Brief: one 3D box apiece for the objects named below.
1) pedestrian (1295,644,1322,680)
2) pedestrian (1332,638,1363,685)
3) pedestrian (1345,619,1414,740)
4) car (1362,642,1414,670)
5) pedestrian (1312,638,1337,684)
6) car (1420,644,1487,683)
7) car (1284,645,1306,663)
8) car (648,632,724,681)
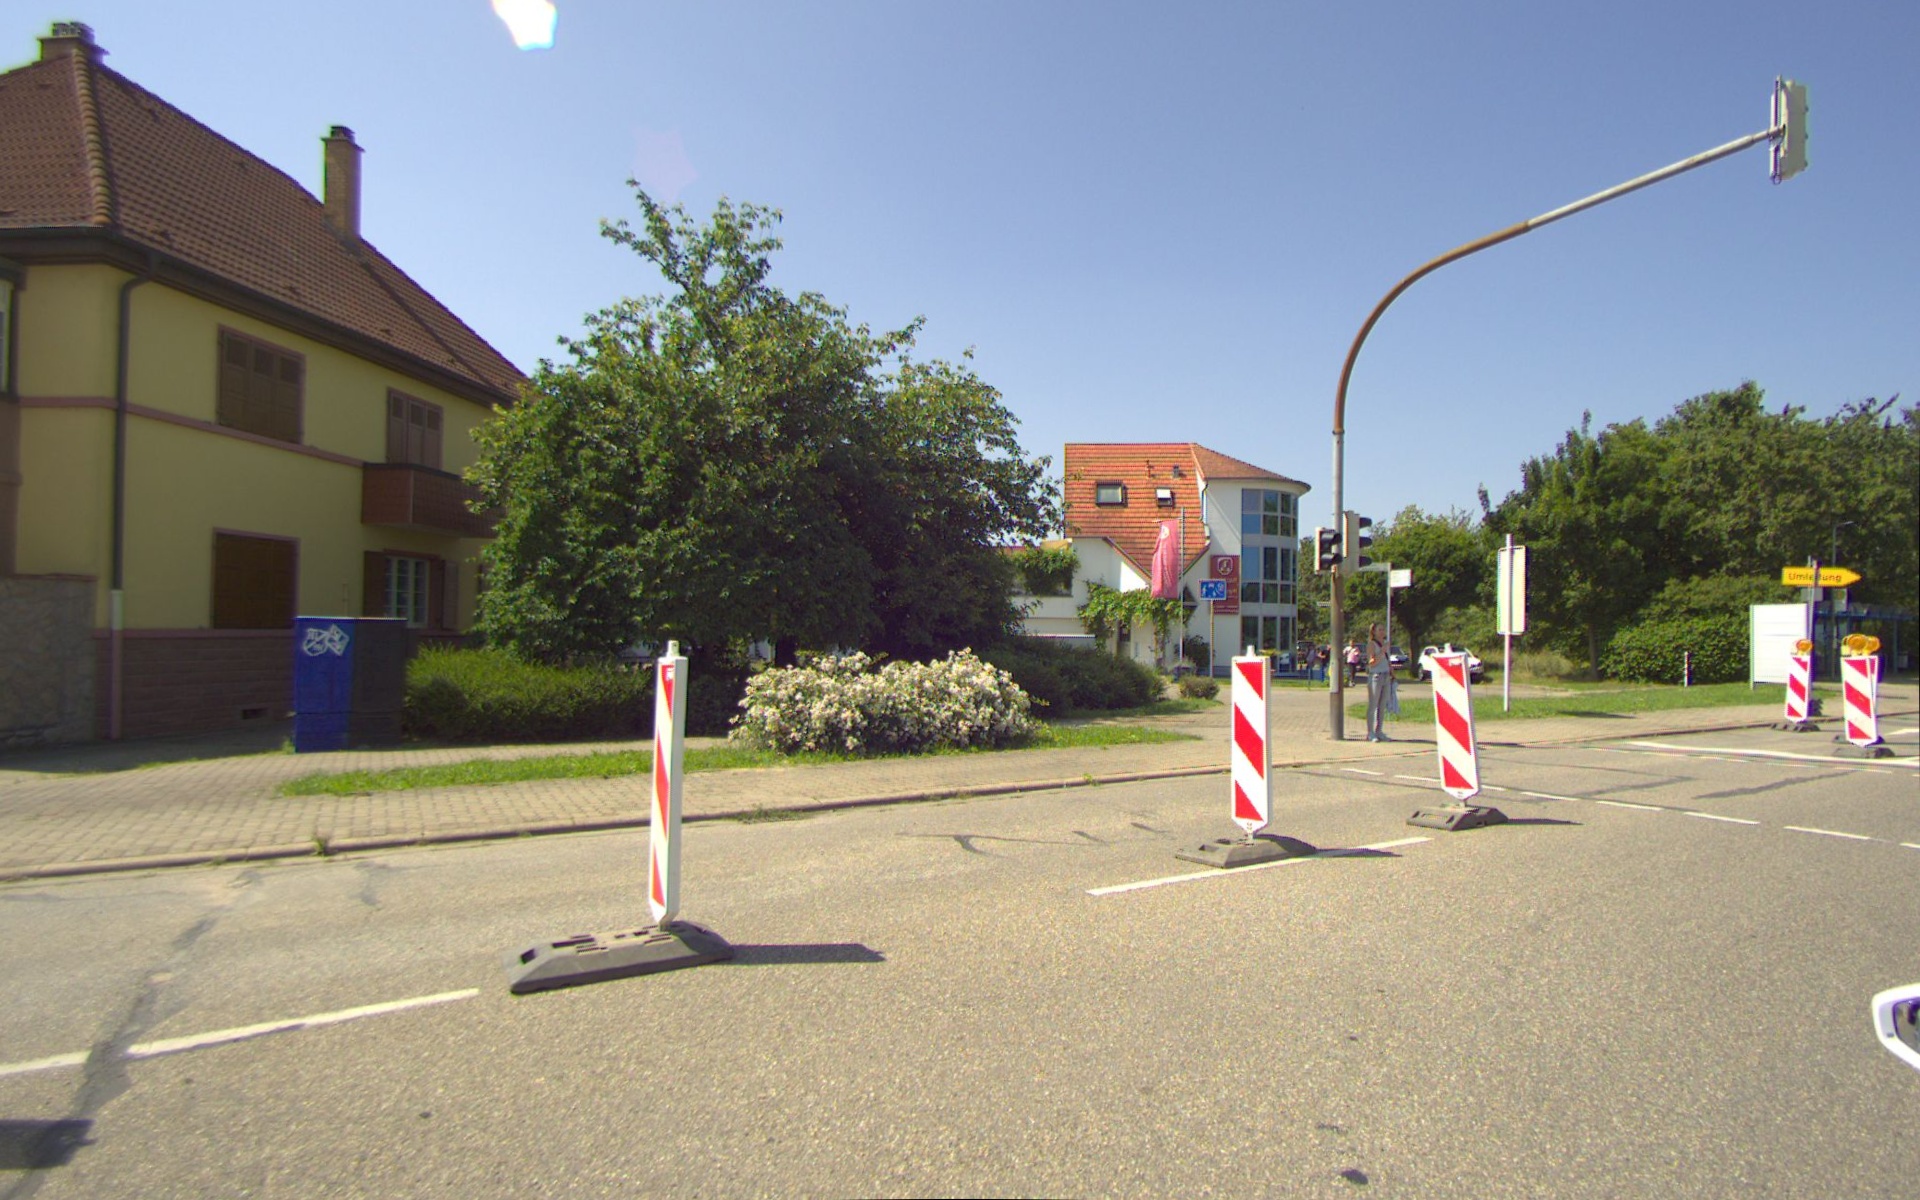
[{"bbox_3d":[15.832,2.813,45.669,0.906,1.587,0.789,0,-1,-4],"label":"pedestrian"},{"bbox_3d":[14.855,2.361,38.560,0.799,1.763,0.960,1,-1,-1],"label":"pedestrian"},{"bbox_3d":[5.861,1.085,14.038,0.680,1.629,0.611,1,-1,-31],"label":"pedestrian"},{"bbox_3d":[22.695,2.954,53.348,1.649,1.366,3.383,1,-2,7],"label":"car"},{"bbox_3d":[14.763,2.453,40.664,0.695,1.846,0.805,1,-1,0],"label":"pedestrian"},{"bbox_3d":[21.970,2.777,44.835,1.769,1.589,3.585,0,-2,10],"label":"car"},{"bbox_3d":[24.296,3.900,72.912,1.276,1.259,2.955,0,-2,13],"label":"car"},{"bbox_3d":[-9.617,1.932,35.026,1.780,1.480,3.972,1,-1,-27],"label":"car"}]
